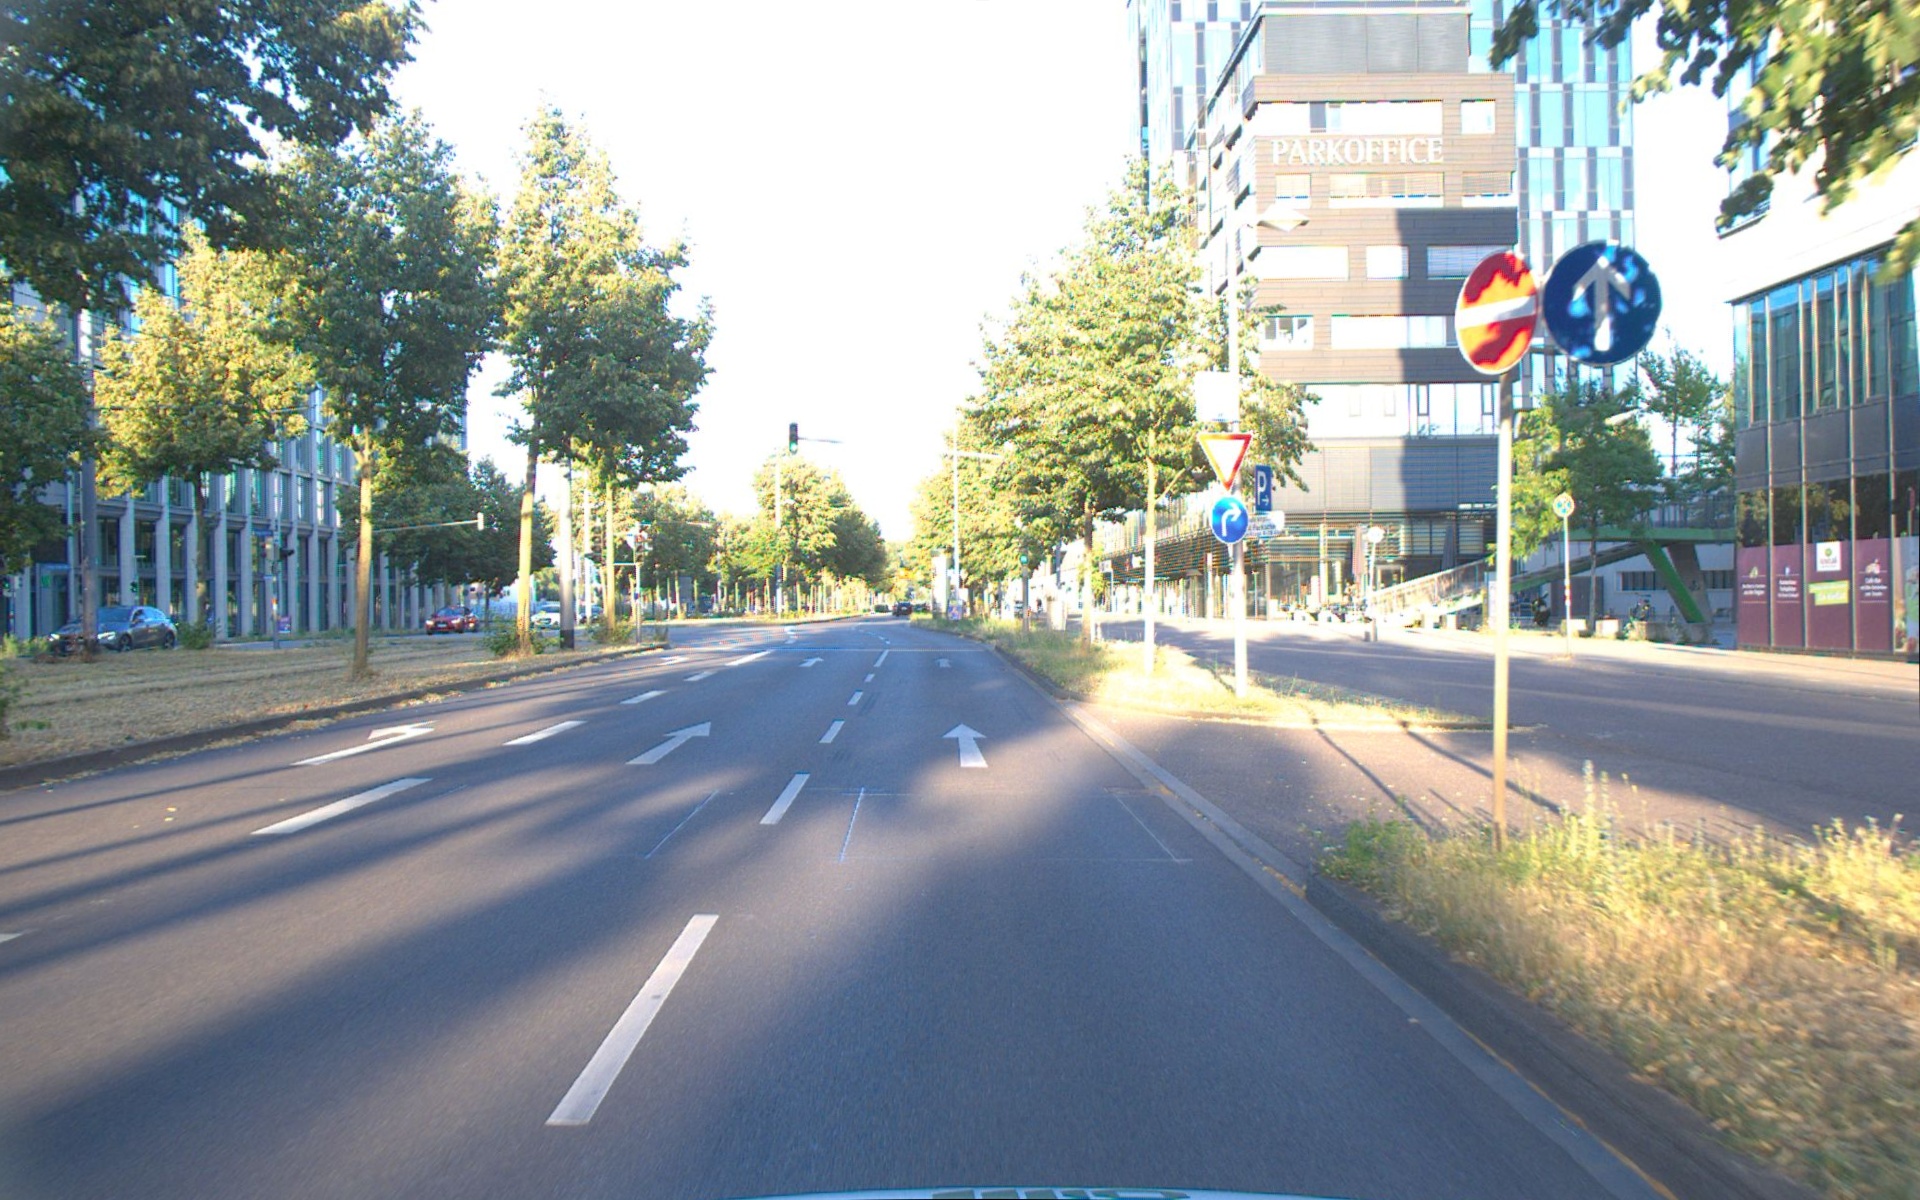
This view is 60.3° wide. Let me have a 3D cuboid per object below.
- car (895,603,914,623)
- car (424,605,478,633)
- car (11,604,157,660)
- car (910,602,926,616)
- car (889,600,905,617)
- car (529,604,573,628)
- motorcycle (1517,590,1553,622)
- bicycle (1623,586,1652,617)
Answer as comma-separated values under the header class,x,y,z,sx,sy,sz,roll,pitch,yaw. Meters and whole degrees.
class,x,y,z,sx,sy,sz,roll,pitch,yaw
car,-5.948,1.343,176.296,1.953,2.049,3.998,-1,0,-2
car,-26.702,0.968,86.883,1.624,1.355,4.525,-1,0,-3
car,-23.230,0.817,44.049,1.624,1.355,4.582,-1,0,-3
car,-5.116,1.082,200.490,1.834,1.601,3.676,-1,0,0
car,-7.897,1.000,207.430,2.045,2.049,3.998,-1,0,-2
car,-23.842,0.910,96.509,1.751,1.355,3.669,-1,0,-3
motorcycle,20.883,0.202,60.056,0.636,1.113,2.334,-1,0,4
bicycle,24.053,0.050,58.744,0.555,1.070,1.769,-1,0,8
